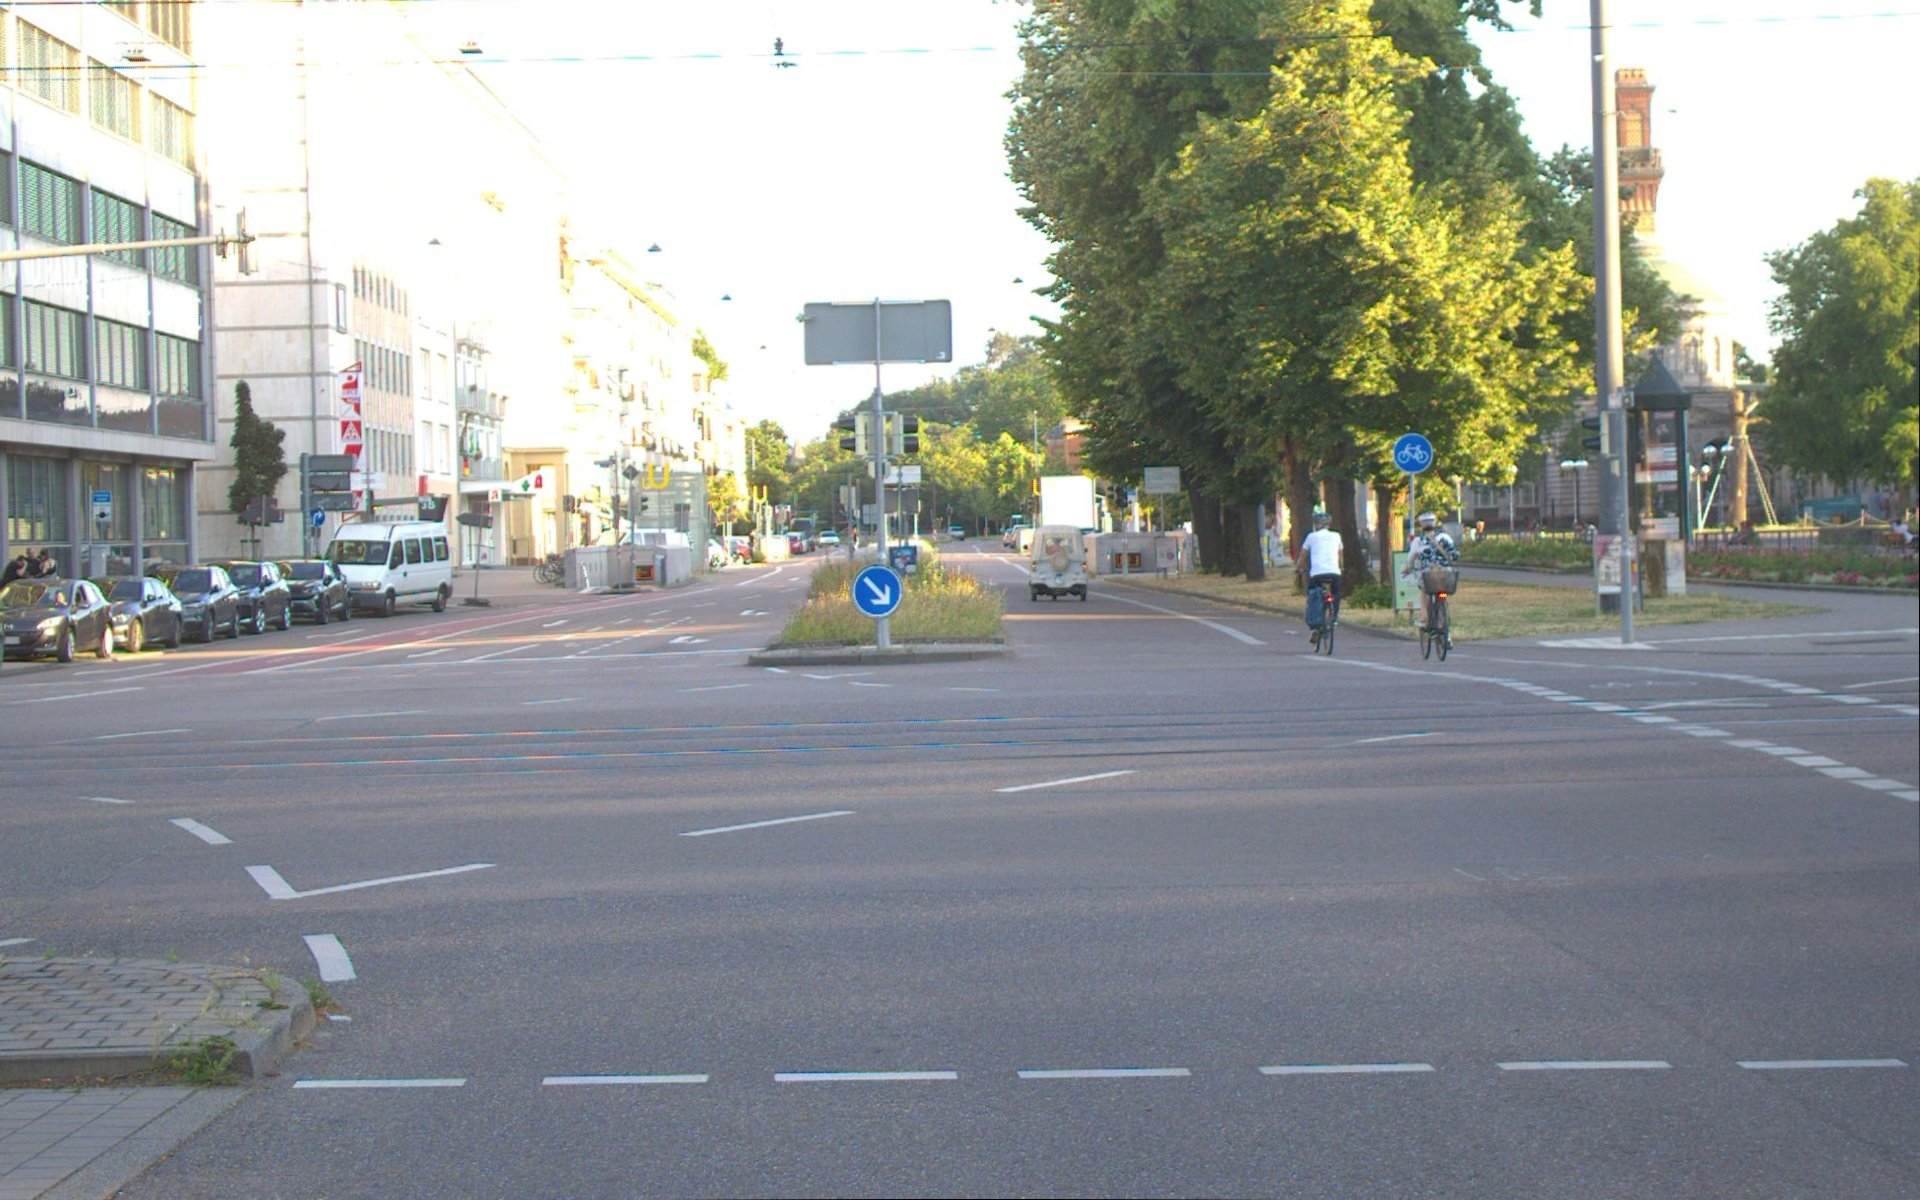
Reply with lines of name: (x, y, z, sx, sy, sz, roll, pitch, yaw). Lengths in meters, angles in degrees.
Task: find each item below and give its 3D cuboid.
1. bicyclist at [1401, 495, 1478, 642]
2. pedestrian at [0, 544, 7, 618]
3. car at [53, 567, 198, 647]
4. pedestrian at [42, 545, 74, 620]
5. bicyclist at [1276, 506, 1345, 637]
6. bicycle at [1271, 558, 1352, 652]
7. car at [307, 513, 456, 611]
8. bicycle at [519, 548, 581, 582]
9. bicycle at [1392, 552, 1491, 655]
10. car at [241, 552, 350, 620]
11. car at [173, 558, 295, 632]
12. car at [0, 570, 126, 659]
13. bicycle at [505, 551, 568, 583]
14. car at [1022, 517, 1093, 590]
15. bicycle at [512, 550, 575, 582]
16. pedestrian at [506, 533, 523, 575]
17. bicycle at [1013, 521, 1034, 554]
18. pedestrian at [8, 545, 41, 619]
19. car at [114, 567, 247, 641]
bicyclist: (5.624, -0.372, 40.370, 0.746, 1.685, 0.799, -2, 1, -1)
pedestrian: (-21.971, -0.424, 77.959, 0.551, 1.673, 0.500, -2, 1, -1)
car: (-16.570, 0.112, 68.438, 1.920, 1.459, 4.000, -2, 1, -1)
pedestrian: (-20.450, -0.399, 77.976, 0.551, 1.673, 0.500, -2, 1, -1)
bicyclist: (4.529, -0.379, 44.435, 0.746, 1.658, 0.873, -2, 1, -1)
bicycle: (4.562, 0.049, 44.750, 0.746, 1.140, 2.505, -2, 1, -1)
car: (-15.294, -1.041, 91.231, 2.002, 2.469, 5.865, -1, 1, 10)
bicycle: (-15.382, -1.317, 128.900, 2.205, 1.232, 0.839, -2, 1, -2)
bicycle: (5.637, 0.022, 40.371, 0.746, 1.140, 2.505, -2, 1, -1)
car: (-16.354, -0.372, 84.781, 1.920, 1.563, 4.000, -2, 1, -1)
car: (-16.552, -0.139, 78.554, 1.920, 1.563, 4.000, -2, 1, -1)
car: (-16.481, 0.242, 61.891, 1.920, 1.459, 4.103, -2, 1, -1)
bicycle: (-15.459, -1.214, 125.482, 2.205, 1.108, 0.619, -2, 1, -2)
car: (2.276, -1.097, 80.880, 1.408, 1.636, 4.000, -2, 1, -2)
bicycle: (-15.363, -1.253, 126.797, 2.205, 1.108, 0.689, -2, 1, -2)
pedestrian: (-21.397, -2.199, 164.966, 0.680, 2.007, 0.545, -2, 1, 0)
bicycle: (3.847, -3.790, 208.014, 1.002, 2.007, 4.000, -1, 1, 4)
pedestrian: (-21.300, -0.409, 78.275, 0.551, 1.673, 0.500, -2, 1, -1)
car: (-16.574, 0.064, 73.253, 1.920, 1.459, 4.000, -2, 1, -1)
